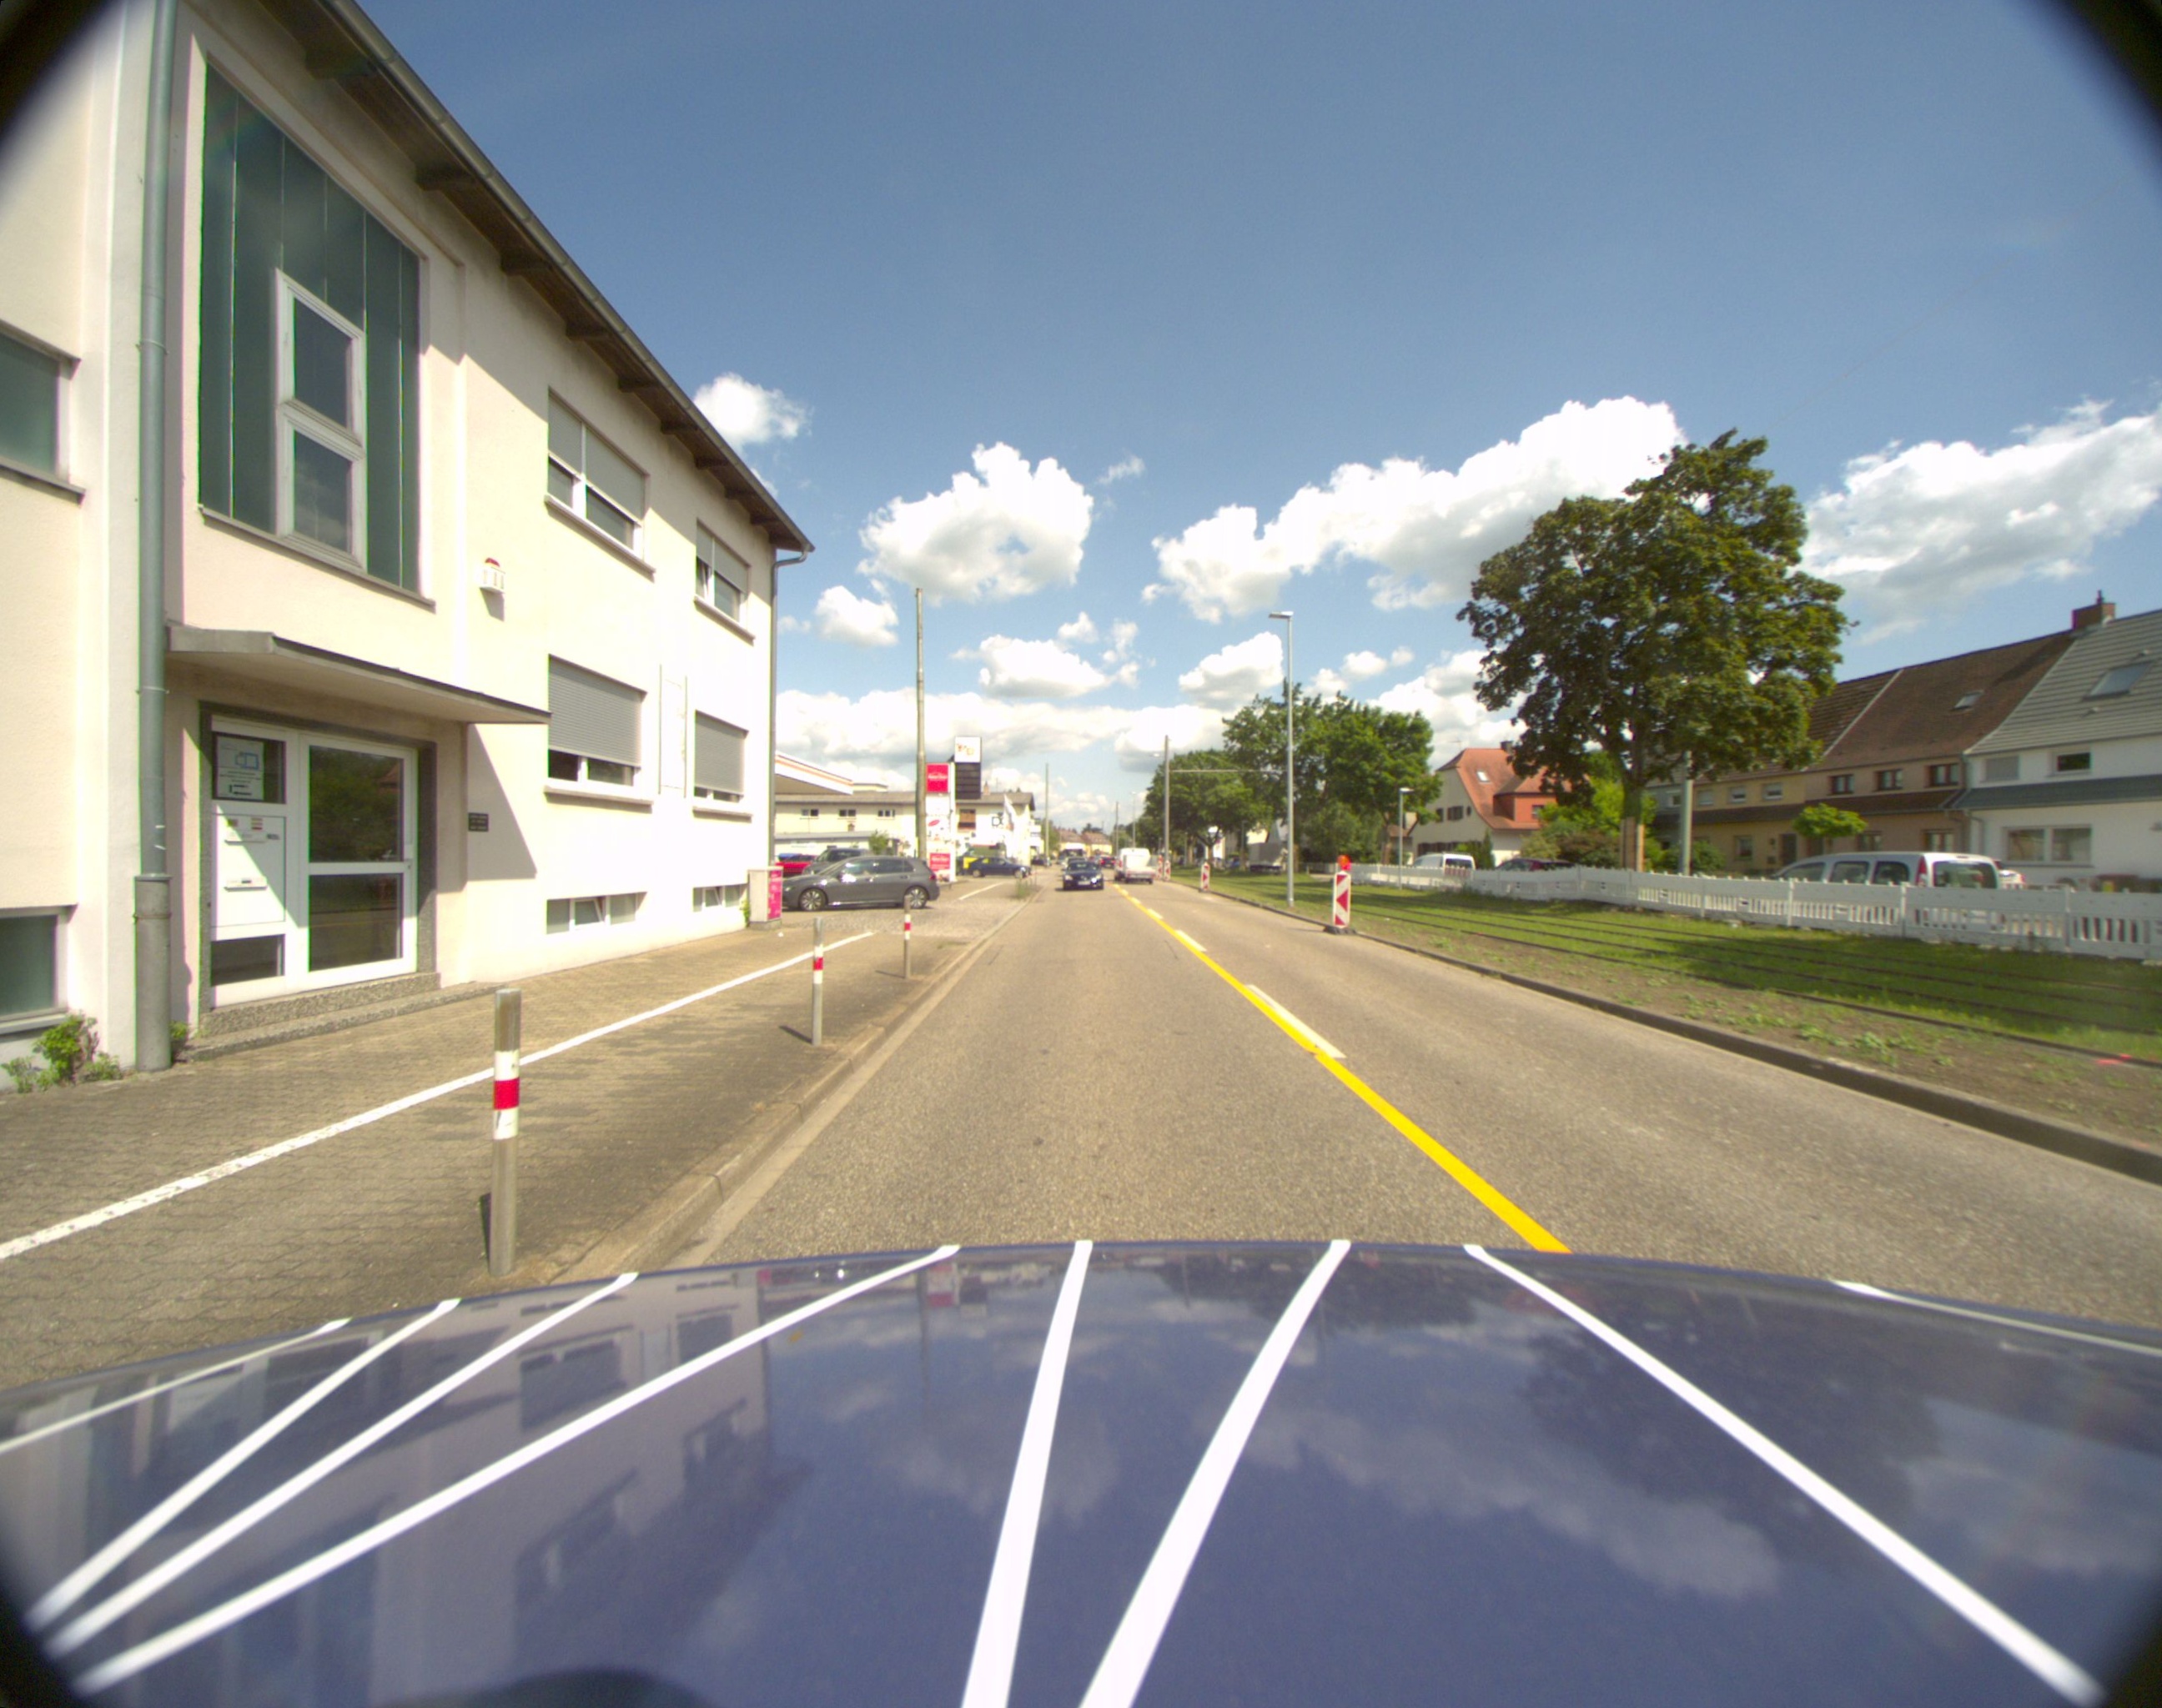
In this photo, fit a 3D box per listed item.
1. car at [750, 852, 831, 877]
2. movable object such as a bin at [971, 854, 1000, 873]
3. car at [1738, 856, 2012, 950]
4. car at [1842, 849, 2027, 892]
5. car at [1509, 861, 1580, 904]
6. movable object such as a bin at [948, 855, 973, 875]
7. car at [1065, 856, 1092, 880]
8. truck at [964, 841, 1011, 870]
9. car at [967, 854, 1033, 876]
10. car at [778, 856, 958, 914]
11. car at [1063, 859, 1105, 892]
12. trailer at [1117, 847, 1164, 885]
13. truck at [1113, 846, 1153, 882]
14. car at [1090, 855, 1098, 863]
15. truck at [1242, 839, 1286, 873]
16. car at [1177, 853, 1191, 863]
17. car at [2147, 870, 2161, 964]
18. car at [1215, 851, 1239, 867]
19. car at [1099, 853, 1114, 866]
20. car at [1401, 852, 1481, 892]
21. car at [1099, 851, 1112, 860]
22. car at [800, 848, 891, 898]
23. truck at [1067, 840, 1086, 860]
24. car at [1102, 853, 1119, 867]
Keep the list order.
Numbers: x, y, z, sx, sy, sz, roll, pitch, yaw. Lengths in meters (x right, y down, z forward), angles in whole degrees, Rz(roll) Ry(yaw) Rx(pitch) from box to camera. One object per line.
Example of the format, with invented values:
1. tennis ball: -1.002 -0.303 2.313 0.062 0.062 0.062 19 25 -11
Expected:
1. car: -17.309 0.616 45.433 4.145 1.416 1.771 1 1 1
2. movable object such as a bin: -7.122 0.672 56.799 1.968 1.339 1.708 -1 1 -1
3. car: 16.361 0.907 15.997 1.627 1.642 3.898 1 1 0
4. car: 28.513 0.506 25.606 1.538 1.268 4.119 1 1 0
5. car: 16.044 0.958 26.399 1.075 1.340 2.449 1 1 4
6. movable object such as a bin: -8.915 0.788 56.220 1.536 1.402 1.765 -1 1 -1
7. car: -0.161 0.866 48.725 1.594 1.418 3.706 -1 1 0
8. truck: -9.037 0.099 73.730 4.181 2.645 2.108 -1 1 1
9. car: -5.296 0.716 50.095 4.061 1.400 1.648 0 1 6
10. car: -5.677 0.806 20.387 4.388 1.409 1.740 1 -1 -27
11. car: 0.121 0.927 34.243 1.732 1.259 3.999 -1 1 0
12. trailer: 3.138 0.585 41.162 2.067 1.825 5.484 2 1 0
13. truck: 3.016 0.521 45.004 1.825 1.898 5.114 2 1 -1
14. car: 2.761 1.081 159.161 1.582 1.461 3.719 2 1 0
15. truck: 15.985 0.157 66.816 2.371 2.789 5.950 -1 1 0
16. car: 15.824 0.614 116.823 1.637 1.294 3.999 -1 1 0
17. car: 16.322 0.918 9.579 1.353 1.369 3.114 1 0 0
18. car: 14.815 0.462 77.426 1.672 1.504 3.930 -1 1 0
19. car: 3.411 0.703 101.806 1.829 1.656 4.461 1 1 0
20. car: 16.139 0.769 34.271 1.657 1.616 4.000 1 1 0
21. car: 4.028 0.292 125.378 1.826 1.436 4.483 2 0 -1
22. car: -8.321 0.622 27.285 1.951 1.615 4.614 1 0 -2
23. truck: -0.617 -0.638 111.458 2.632 2.872 7.923 -1 1 1
24. car: 3.331 0.651 87.579 1.697 1.404 3.858 3 1 -1
